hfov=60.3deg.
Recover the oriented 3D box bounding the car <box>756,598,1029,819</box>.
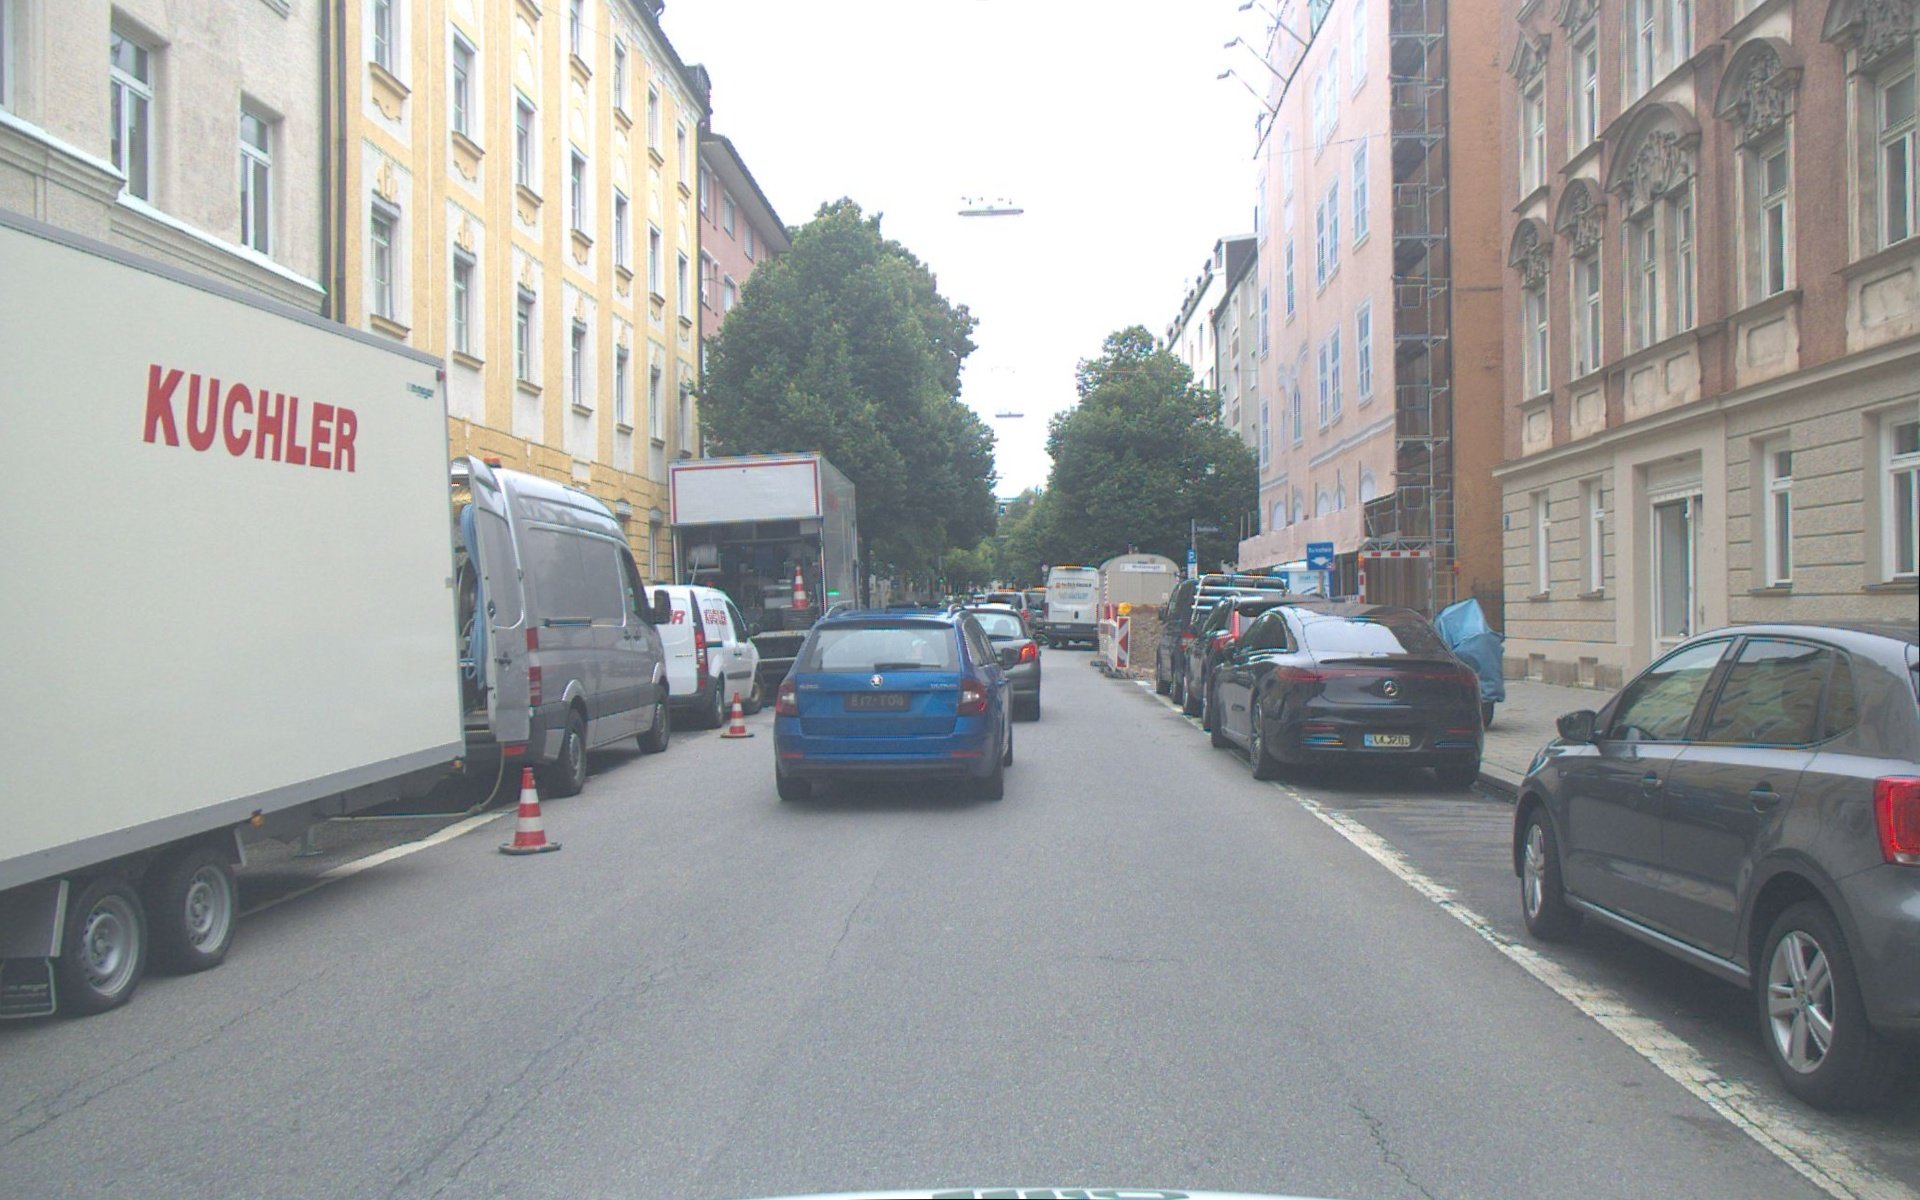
[{"bbox_3d":[-0.376,0.758,13.540,1.751,1.486,4.316,-1,0,4],"label":"car"}]

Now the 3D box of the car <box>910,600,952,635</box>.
[{"bbox_3d":[-1.285,0.754,74.112,1.775,1.504,4.000,0,0,0],"label":"car"}]

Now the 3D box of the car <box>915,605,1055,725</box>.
[{"bbox_3d":[0.398,0.819,22.223,1.705,1.446,3.665,-1,0,3],"label":"car"}]

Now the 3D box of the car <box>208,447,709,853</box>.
[{"bbox_3d":[-3.986,0.348,14.853,2.014,2.632,6.878,-5,0,2],"label":"car"}]

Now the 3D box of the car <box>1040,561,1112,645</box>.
[{"bbox_3d":[4.017,0.135,56.585,2.067,2.710,5.504,0,-1,8],"label":"car"}]

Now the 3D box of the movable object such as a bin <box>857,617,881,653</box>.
[{"bbox_3d":[-3.016,1.154,54.625,0.706,1.158,0.658,-3,0,-1],"label":"movable object such as a bin"}]

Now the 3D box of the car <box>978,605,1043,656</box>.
[{"bbox_3d":[1.479,0.874,49.083,1.829,1.372,4.348,0,0,1],"label":"car"}]

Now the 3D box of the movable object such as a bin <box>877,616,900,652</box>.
[{"bbox_3d":[-2.361,1.121,54.661,0.697,1.168,0.636,-3,0,-1],"label":"movable object such as a bin"}]

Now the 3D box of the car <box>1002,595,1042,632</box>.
[{"bbox_3d":[2.905,0.613,77.525,1.828,1.682,4.348,0,0,2],"label":"car"}]

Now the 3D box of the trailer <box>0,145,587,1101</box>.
[{"bbox_3d":[-4.247,0.103,7.356,2.745,3.020,7.604,-4,0,4],"label":"trailer"}]

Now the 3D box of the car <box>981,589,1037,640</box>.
[{"bbox_3d":[1.932,0.515,64.194,1.828,1.902,4.350,0,0,6],"label":"car"}]

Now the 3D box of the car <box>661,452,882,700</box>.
[{"bbox_3d":[-3.195,-0.354,30.613,2.754,3.884,8.725,-1,0,2],"label":"car"}]

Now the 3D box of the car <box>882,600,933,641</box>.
[{"bbox_3d":[-1.981,0.775,63.393,1.775,1.504,4.000,0,0,0],"label":"car"}]

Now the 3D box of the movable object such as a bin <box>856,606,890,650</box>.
[{"bbox_3d":[-2.906,0.945,55.511,1.060,1.400,1.083,-3,0,-2],"label":"movable object such as a bin"}]

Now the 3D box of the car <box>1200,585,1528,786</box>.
[{"bbox_3d":[3.602,0.679,15.897,1.891,1.580,5.637,0,0,1],"label":"car"}]

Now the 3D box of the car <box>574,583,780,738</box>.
[{"bbox_3d":[-3.681,0.742,22.269,1.726,1.810,4.328,-3,0,3],"label":"car"}]

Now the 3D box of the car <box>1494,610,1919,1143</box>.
[{"bbox_3d":[3.390,0.758,6.113,1.540,1.419,4.183,-1,-1,1],"label":"car"}]

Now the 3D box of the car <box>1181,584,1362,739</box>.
[{"bbox_3d":[3.855,0.719,21.133,1.658,1.706,4.409,2,0,3],"label":"car"}]

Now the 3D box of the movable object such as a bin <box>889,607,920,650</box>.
[{"bbox_3d":[-1.899,0.980,56.663,0.999,1.400,1.103,-3,0,-2],"label":"movable object such as a bin"}]

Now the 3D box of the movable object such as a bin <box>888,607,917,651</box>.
[{"bbox_3d":[-1.928,0.964,55.565,0.899,1.400,1.079,-3,0,-2],"label":"movable object such as a bin"}]

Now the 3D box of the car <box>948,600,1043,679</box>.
[{"bbox_3d":[0.732,0.760,34.182,1.829,1.479,4.348,0,0,1],"label":"car"}]

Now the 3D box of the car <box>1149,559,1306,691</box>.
[{"bbox_3d":[4.292,0.479,27.290,2.039,1.955,5.141,0,-3,3],"label":"car"}]

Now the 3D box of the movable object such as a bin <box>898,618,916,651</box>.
[{"bbox_3d":[-1.753,1.133,54.704,0.535,1.038,0.636,-3,0,-1],"label":"movable object such as a bin"}]

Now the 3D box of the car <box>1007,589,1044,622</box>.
[{"bbox_3d":[3.532,0.270,89.205,1.966,1.682,4.349,0,0,2],"label":"car"}]

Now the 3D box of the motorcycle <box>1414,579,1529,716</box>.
[{"bbox_3d":[6.035,0.534,19.616,0.853,1.531,1.998,-1,0,4],"label":"motorcycle"}]

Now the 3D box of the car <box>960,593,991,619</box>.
[{"bbox_3d":[1.054,0.367,110.863,1.966,1.682,4.349,0,0,2],"label":"car"}]

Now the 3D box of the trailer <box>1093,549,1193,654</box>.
[{"bbox_3d":[5.364,0.073,49.444,2.450,2.890,6.903,0,-1,2],"label":"trailer"}]
